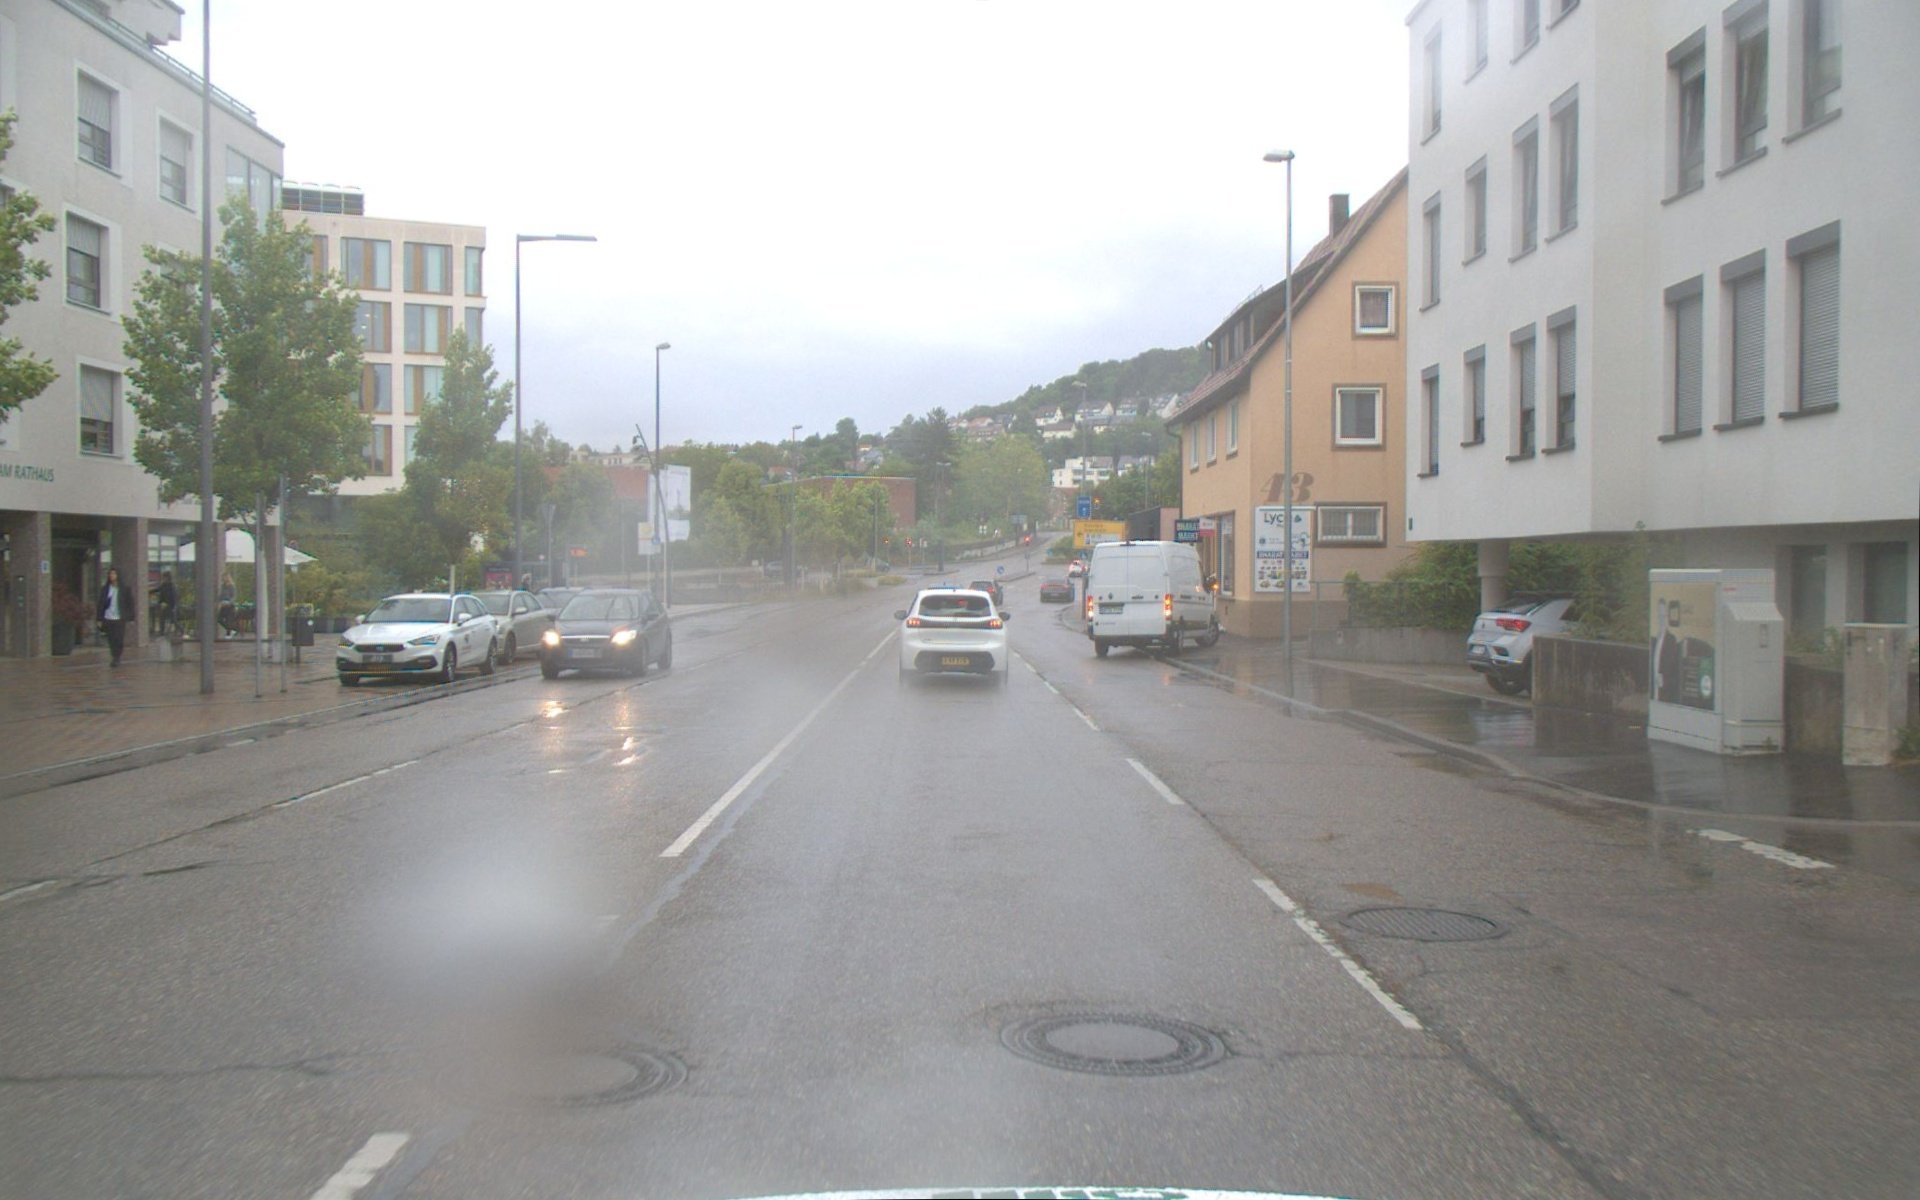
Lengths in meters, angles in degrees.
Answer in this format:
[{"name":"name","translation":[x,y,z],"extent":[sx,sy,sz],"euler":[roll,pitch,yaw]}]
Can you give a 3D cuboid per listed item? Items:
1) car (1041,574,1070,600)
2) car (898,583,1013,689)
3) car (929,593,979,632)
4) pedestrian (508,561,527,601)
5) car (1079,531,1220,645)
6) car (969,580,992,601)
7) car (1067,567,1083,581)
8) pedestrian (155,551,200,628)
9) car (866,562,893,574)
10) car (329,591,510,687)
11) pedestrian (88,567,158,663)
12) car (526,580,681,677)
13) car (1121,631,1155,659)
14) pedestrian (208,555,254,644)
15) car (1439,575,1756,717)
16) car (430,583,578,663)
[{"name":"car","translation":[5.946,-0.817,103.145],"extent":[1.698,1.411,3.354],"euler":[1,4,1]},{"name":"car","translation":[-0.134,0.559,26.458],"extent":[1.657,1.546,3.930],"euler":[-1,-1,-3]},{"name":"car","translation":[-0.191,0.421,58.856],"extent":[1.705,1.318,3.334],"euler":[-1,0,1]},{"name":"pedestrian","translation":[-19.700,-0.835,73.644],"extent":[0.769,1.776,0.671],"euler":[-1,-1,-15]},{"name":"car","translation":[4.613,-0.240,39.178],"extent":[2.242,2.424,6.629],"euler":[-1,-1,16]},{"name":"car","translation":[1.157,-0.525,94.181],"extent":[1.188,1.176,2.269],"euler":[-1,-1,-2]},{"name":"car","translation":[10.343,-2.355,149.400],"extent":[1.356,1.146,2.611],"euler":[-1,-1,2]},{"name":"pedestrian","translation":[-21.151,-0.274,44.728],"extent":[0.833,2.049,0.935],"euler":[-1,-1,-7]},{"name":"car","translation":[-7.977,-3.167,163.707],"extent":[2.390,1.177,1.359],"euler":[-1,0,-27]},{"name":"car","translation":[-9.053,0.635,28.078],"extent":[1.759,1.488,4.476],"euler":[0,-1,-2]},{"name":"pedestrian","translation":[-15.788,0.283,31.213],"extent":[0.792,1.768,1.003],"euler":[-1,-1,-1]},{"name":"car","translation":[-6.220,0.493,29.294],"extent":[1.842,1.550,4.183],"euler":[-1,-1,-1]},{"name":"car","translation":[11.526,2.900,106.890],"extent":[1.693,1.523,4.485],"euler":[-2,2,11]},{"name":"pedestrian","translation":[-18.036,0.001,40.943],"extent":[0.731,2.183,0.771],"euler":[0,-1,8]},{"name":"car","translation":[9.047,0.622,23.699],"extent":[3.716,1.556,1.820],"euler":[6,1,-2]},{"name":"car","translation":[-9.444,0.466,34.619],"extent":[1.656,1.536,4.578],"euler":[-1,-1,2]}]
